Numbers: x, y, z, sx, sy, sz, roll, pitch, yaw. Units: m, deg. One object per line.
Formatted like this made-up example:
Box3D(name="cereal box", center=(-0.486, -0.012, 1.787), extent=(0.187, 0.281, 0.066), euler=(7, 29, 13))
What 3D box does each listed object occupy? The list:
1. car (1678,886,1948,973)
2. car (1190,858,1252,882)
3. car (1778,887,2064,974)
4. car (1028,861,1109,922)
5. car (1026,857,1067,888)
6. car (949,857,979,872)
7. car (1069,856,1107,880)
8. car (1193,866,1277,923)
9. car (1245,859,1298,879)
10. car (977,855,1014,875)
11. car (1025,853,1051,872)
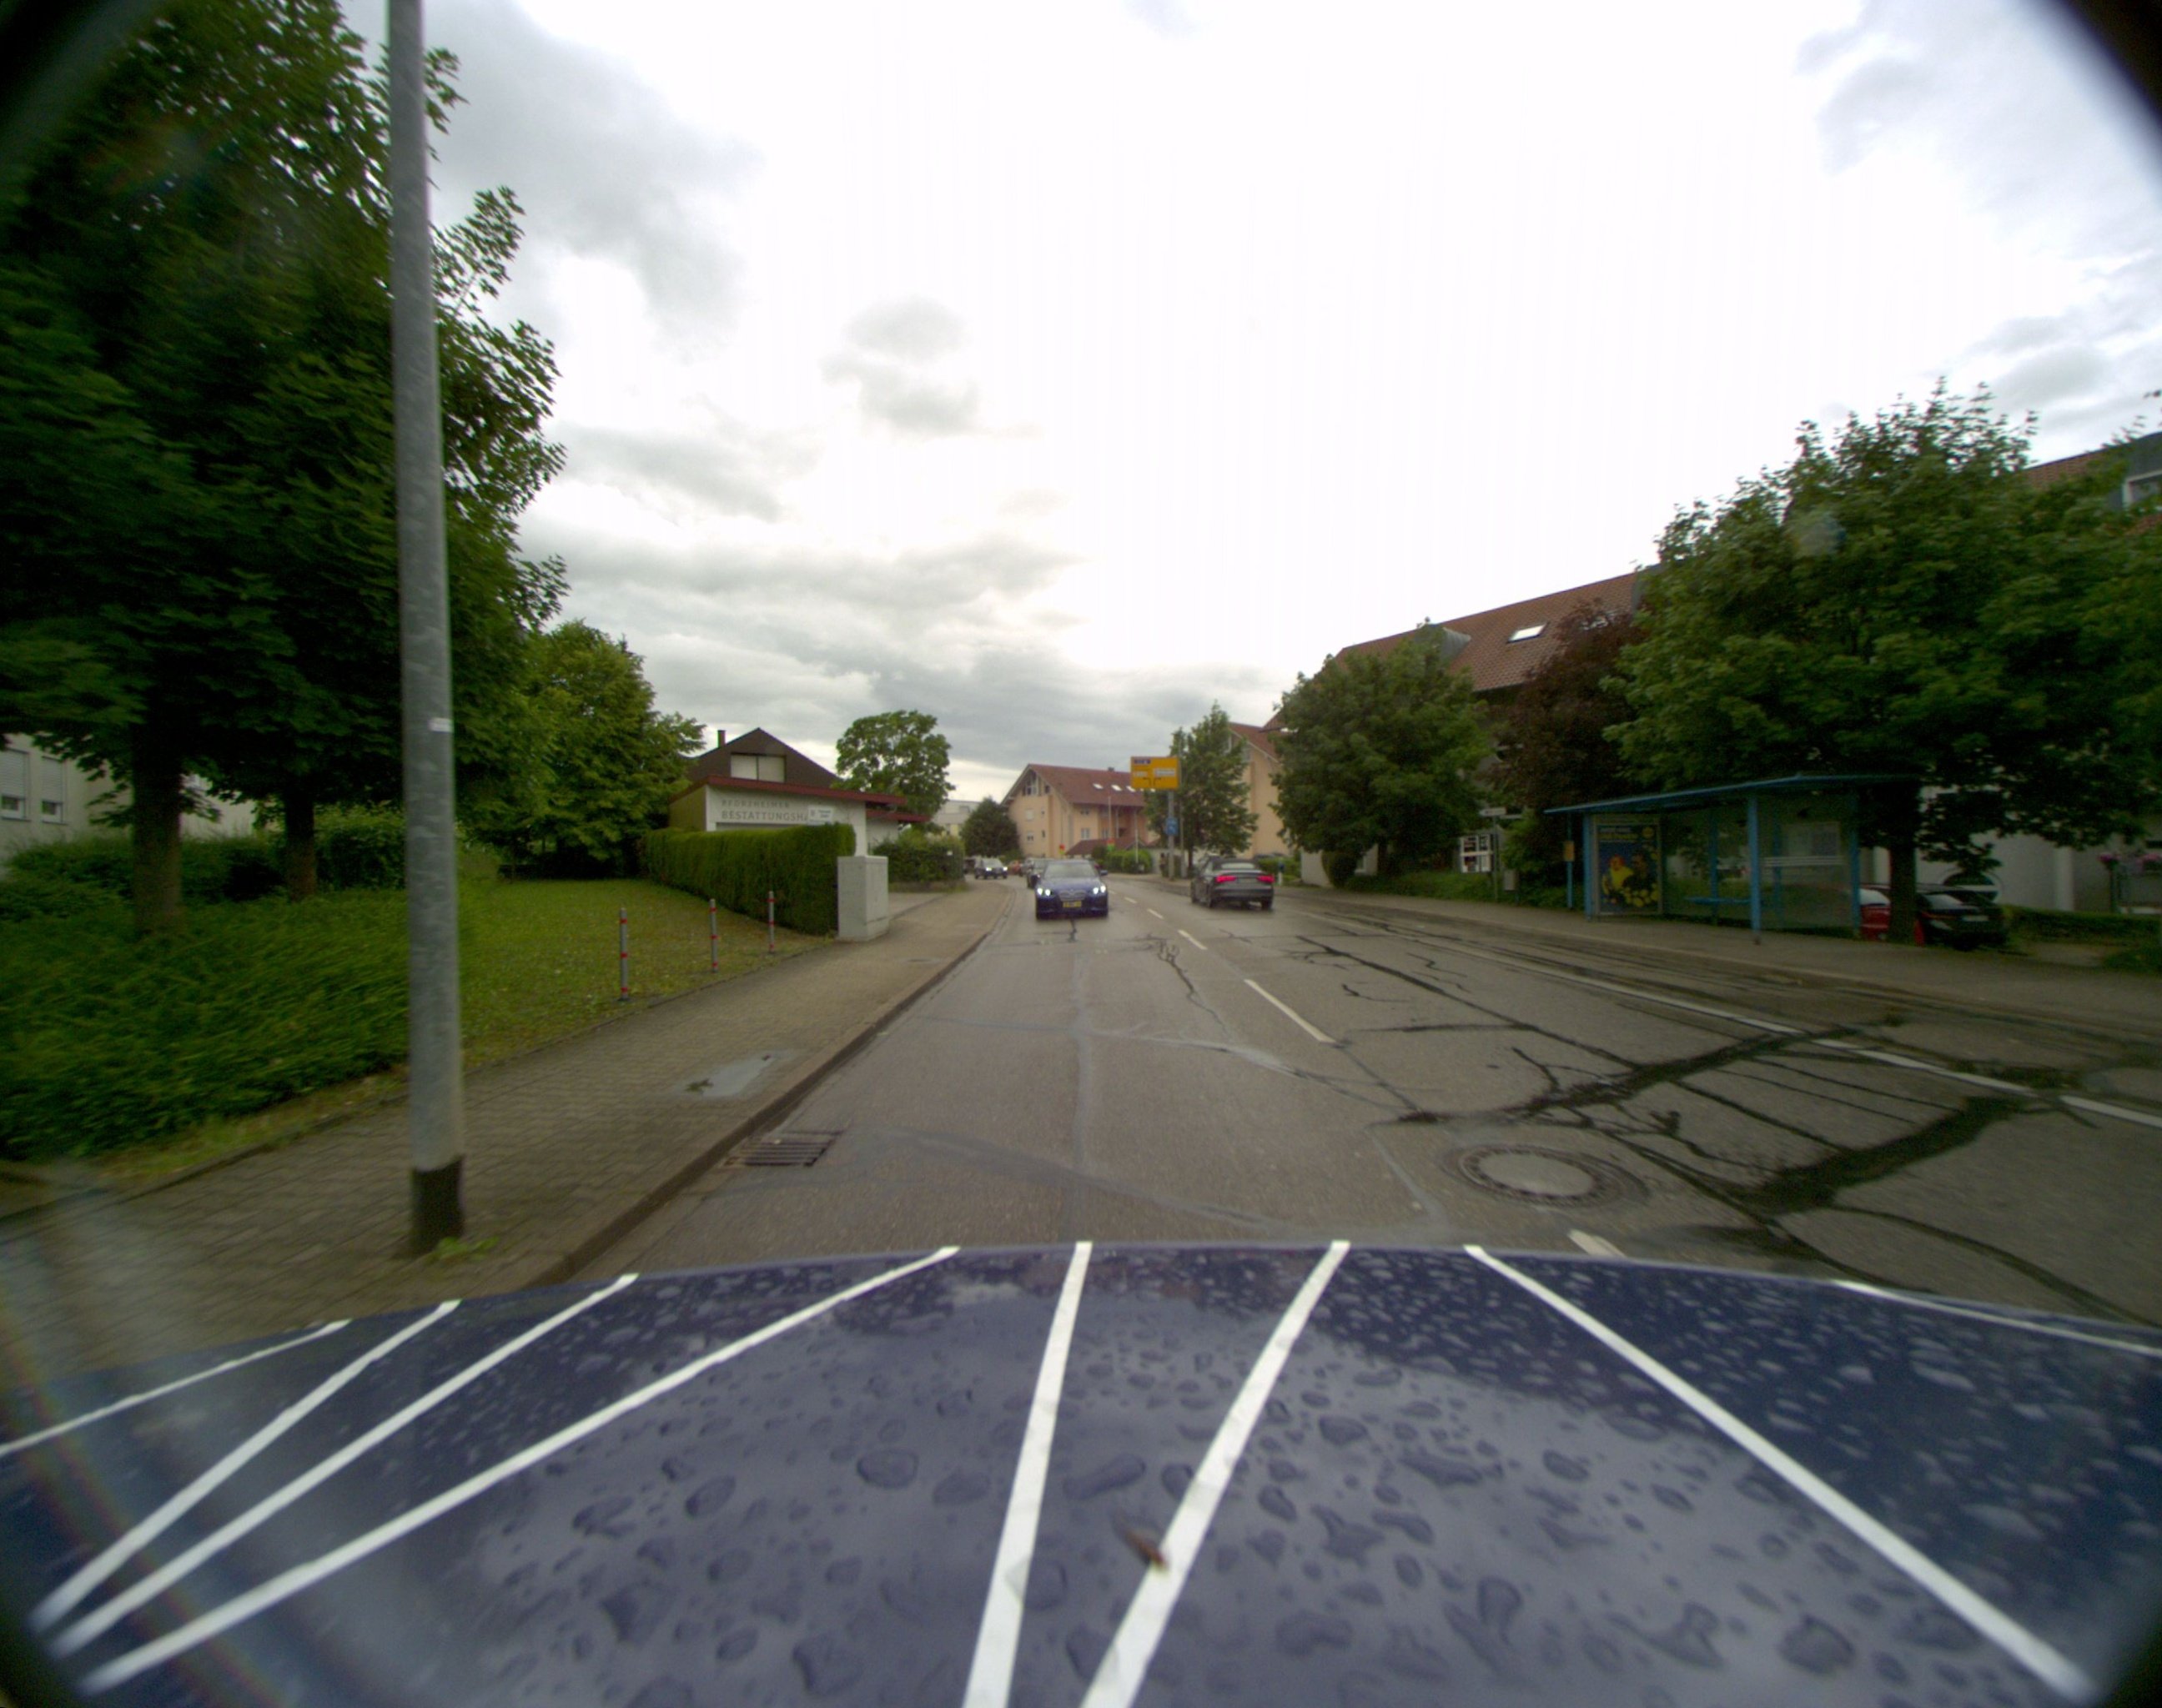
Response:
Box3D(name="car", center=(15.444, 1.509, 16.381), extent=(1.774, 1.455, 3.998), euler=(-1, 0, -5))
Box3D(name="car", center=(9.687, 1.082, 52.812), extent=(1.742, 1.592, 3.989), euler=(0, -1, -40))
Box3D(name="car", center=(17.853, 1.544, 16.481), extent=(1.615, 1.455, 3.998), euler=(-1, 0, -5))
Box3D(name="car", center=(-0.228, 0.937, 20.633), extent=(1.913, 1.425, 4.302), euler=(-2, 0, 2))
Box3D(name="car", center=(-1.835, 0.914, 39.227), extent=(1.841, 1.440, 3.998), euler=(-1, 0, -6))
Box3D(name="car", center=(-13.612, 1.260, 88.319), extent=(1.887, 1.685, 3.990), euler=(0, -1, -34))
Box3D(name="car", center=(0.387, 0.891, 48.402), extent=(1.782, 1.464, 4.247), euler=(0, -1, -9))
Box3D(name="car", center=(4.384, 1.102, 22.224), extent=(1.678, 1.434, 4.000), euler=(-1, 0, 1))
Box3D(name="car", center=(13.631, 1.071, 54.400), extent=(1.519, 1.373, 3.430), euler=(0, -1, -40))
Box3D(name="car", center=(-6.846, 0.871, 60.441), extent=(1.844, 1.541, 3.993), euler=(-1, 0, -22))
Box3D(name="car", center=(-3.633, 0.740, 63.388), extent=(1.669, 1.516, 3.996), euler=(0, -1, -10))
